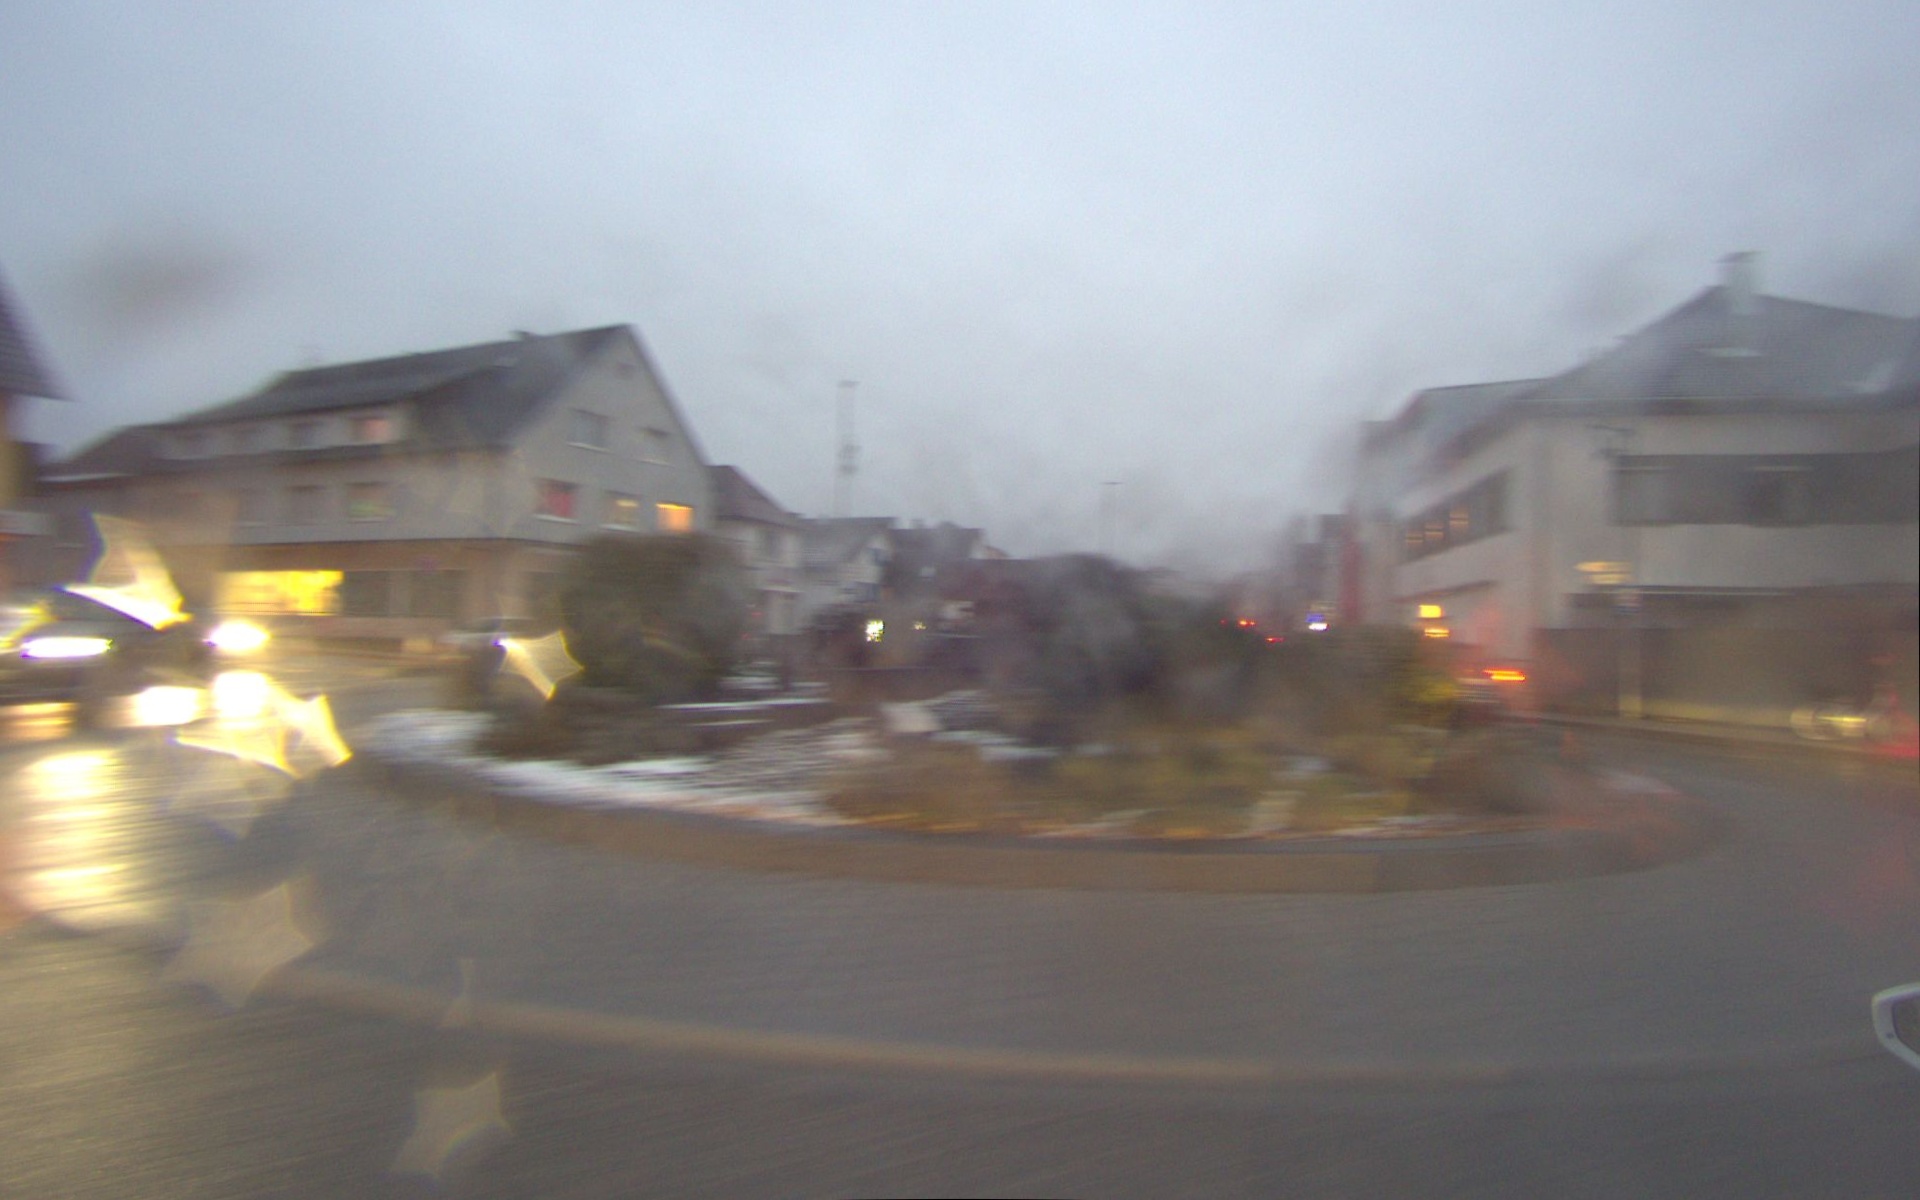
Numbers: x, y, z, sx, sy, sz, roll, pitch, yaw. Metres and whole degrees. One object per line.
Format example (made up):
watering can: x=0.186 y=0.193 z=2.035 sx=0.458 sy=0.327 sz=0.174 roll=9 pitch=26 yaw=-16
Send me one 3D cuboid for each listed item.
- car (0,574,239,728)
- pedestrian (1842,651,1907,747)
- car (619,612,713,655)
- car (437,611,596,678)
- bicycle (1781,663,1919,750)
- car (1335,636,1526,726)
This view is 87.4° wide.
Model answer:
car: x=-11.040 y=0.553 z=12.648 sx=1.924 sy=1.614 sz=4.612 roll=1 pitch=-1 yaw=-19
pedestrian: x=15.892 y=1.697 z=17.463 sx=0.603 sy=1.585 sz=0.686 roll=1 pitch=0 yaw=-30
car: x=-13.565 y=1.518 z=46.337 sx=3.926 sy=1.821 sz=1.807 roll=1 pitch=-1 yaw=27
car: x=-12.027 y=1.178 z=27.288 sx=3.825 sy=1.658 sz=1.651 roll=1 pitch=-1 yaw=19
bicycle: x=15.579 y=1.820 z=17.493 sx=0.545 sy=1.313 sz=1.928 roll=0 pitch=0 yaw=-29
car: x=9.929 y=1.656 z=21.566 sx=1.886 sy=1.636 sz=3.946 roll=2 pitch=-1 yaw=-7
